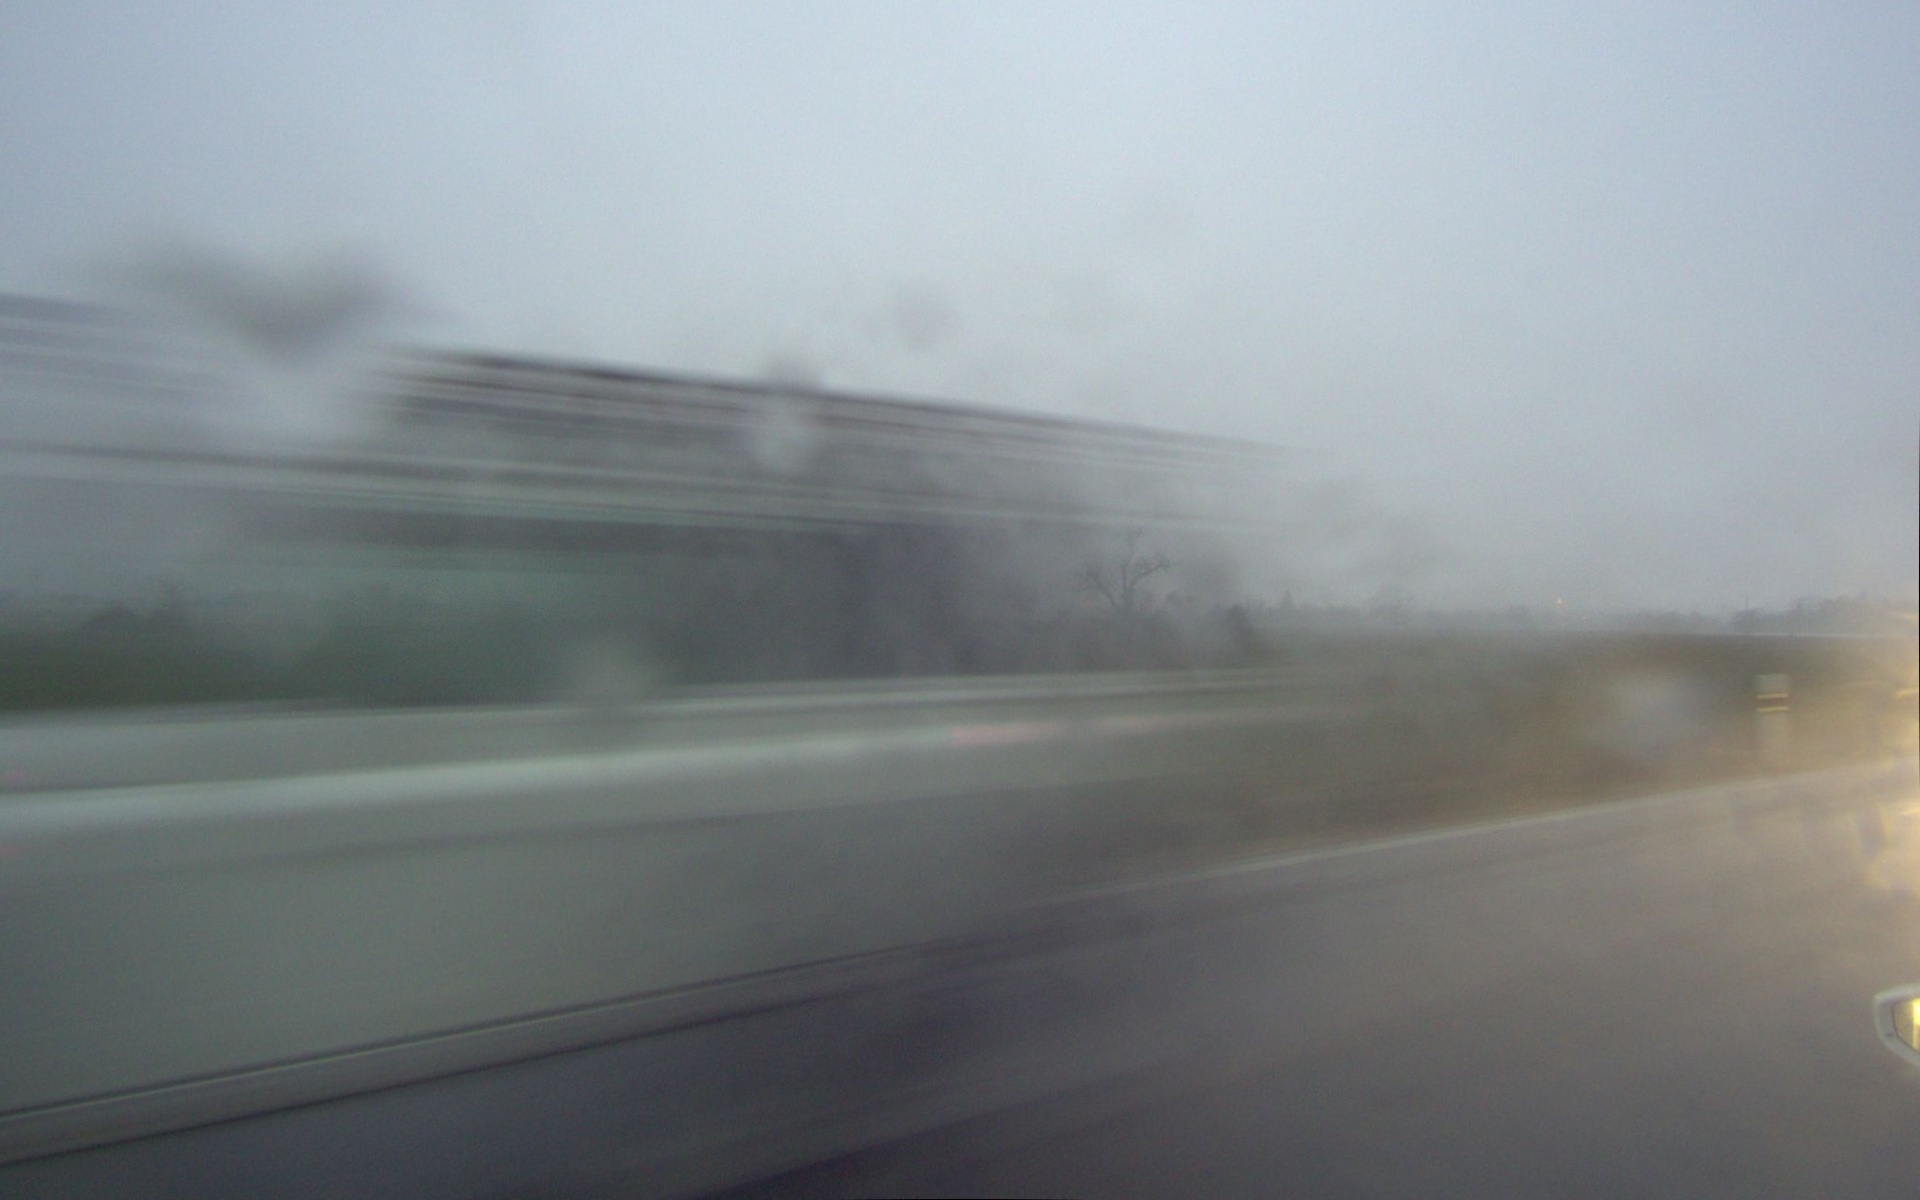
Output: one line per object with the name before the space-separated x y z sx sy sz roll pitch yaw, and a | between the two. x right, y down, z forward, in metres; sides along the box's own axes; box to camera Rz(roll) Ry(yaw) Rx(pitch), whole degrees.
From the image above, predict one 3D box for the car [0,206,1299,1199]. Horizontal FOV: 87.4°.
car | -1.167 0.465 3.044 4.265 2.165 1.905 1 -1 -32
